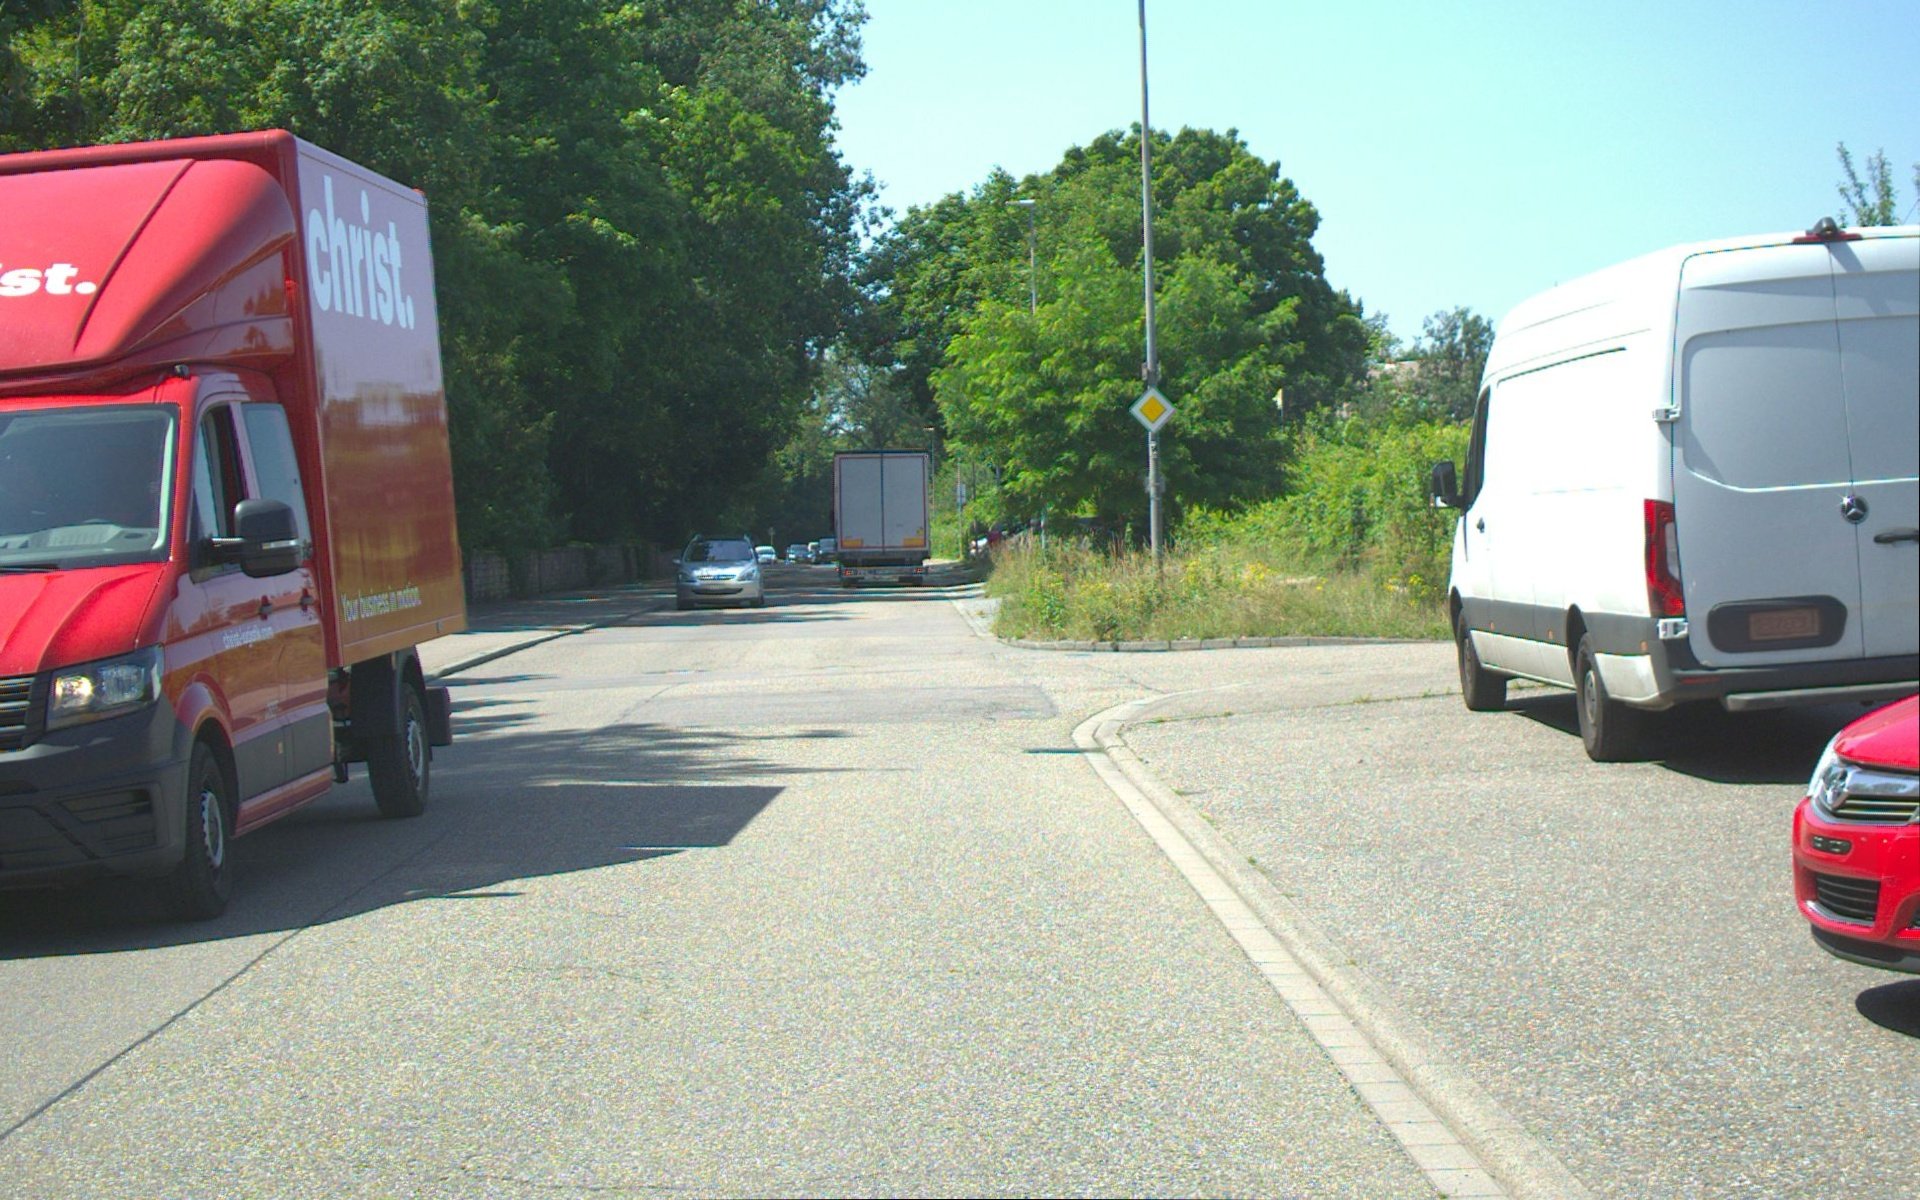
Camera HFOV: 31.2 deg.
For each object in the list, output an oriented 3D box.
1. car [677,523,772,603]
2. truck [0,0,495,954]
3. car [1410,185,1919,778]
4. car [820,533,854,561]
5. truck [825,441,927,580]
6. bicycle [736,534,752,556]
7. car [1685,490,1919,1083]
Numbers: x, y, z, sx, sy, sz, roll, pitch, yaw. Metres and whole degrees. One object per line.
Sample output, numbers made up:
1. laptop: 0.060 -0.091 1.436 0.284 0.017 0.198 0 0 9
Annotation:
1. car: -4.933 -0.800 72.539 1.791 1.567 4.272 -1 2 -2
2. truck: -4.072 -0.487 16.036 2.322 3.428 7.161 -4 1 2
3. car: 4.159 -0.681 19.904 1.954 2.724 7.168 -4 2 0
4. car: -7.705 -3.339 215.937 1.993 1.678 4.262 -2 1 -1
5. truck: -2.357 -2.572 99.719 2.733 3.733 13.246 -1 1 -1
6. bicycle: -11.842 -3.036 188.407 0.718 1.155 2.230 -2 1 -1
7. car: 4.281 0.317 9.440 4.053 1.429 1.836 -4 2 -4
